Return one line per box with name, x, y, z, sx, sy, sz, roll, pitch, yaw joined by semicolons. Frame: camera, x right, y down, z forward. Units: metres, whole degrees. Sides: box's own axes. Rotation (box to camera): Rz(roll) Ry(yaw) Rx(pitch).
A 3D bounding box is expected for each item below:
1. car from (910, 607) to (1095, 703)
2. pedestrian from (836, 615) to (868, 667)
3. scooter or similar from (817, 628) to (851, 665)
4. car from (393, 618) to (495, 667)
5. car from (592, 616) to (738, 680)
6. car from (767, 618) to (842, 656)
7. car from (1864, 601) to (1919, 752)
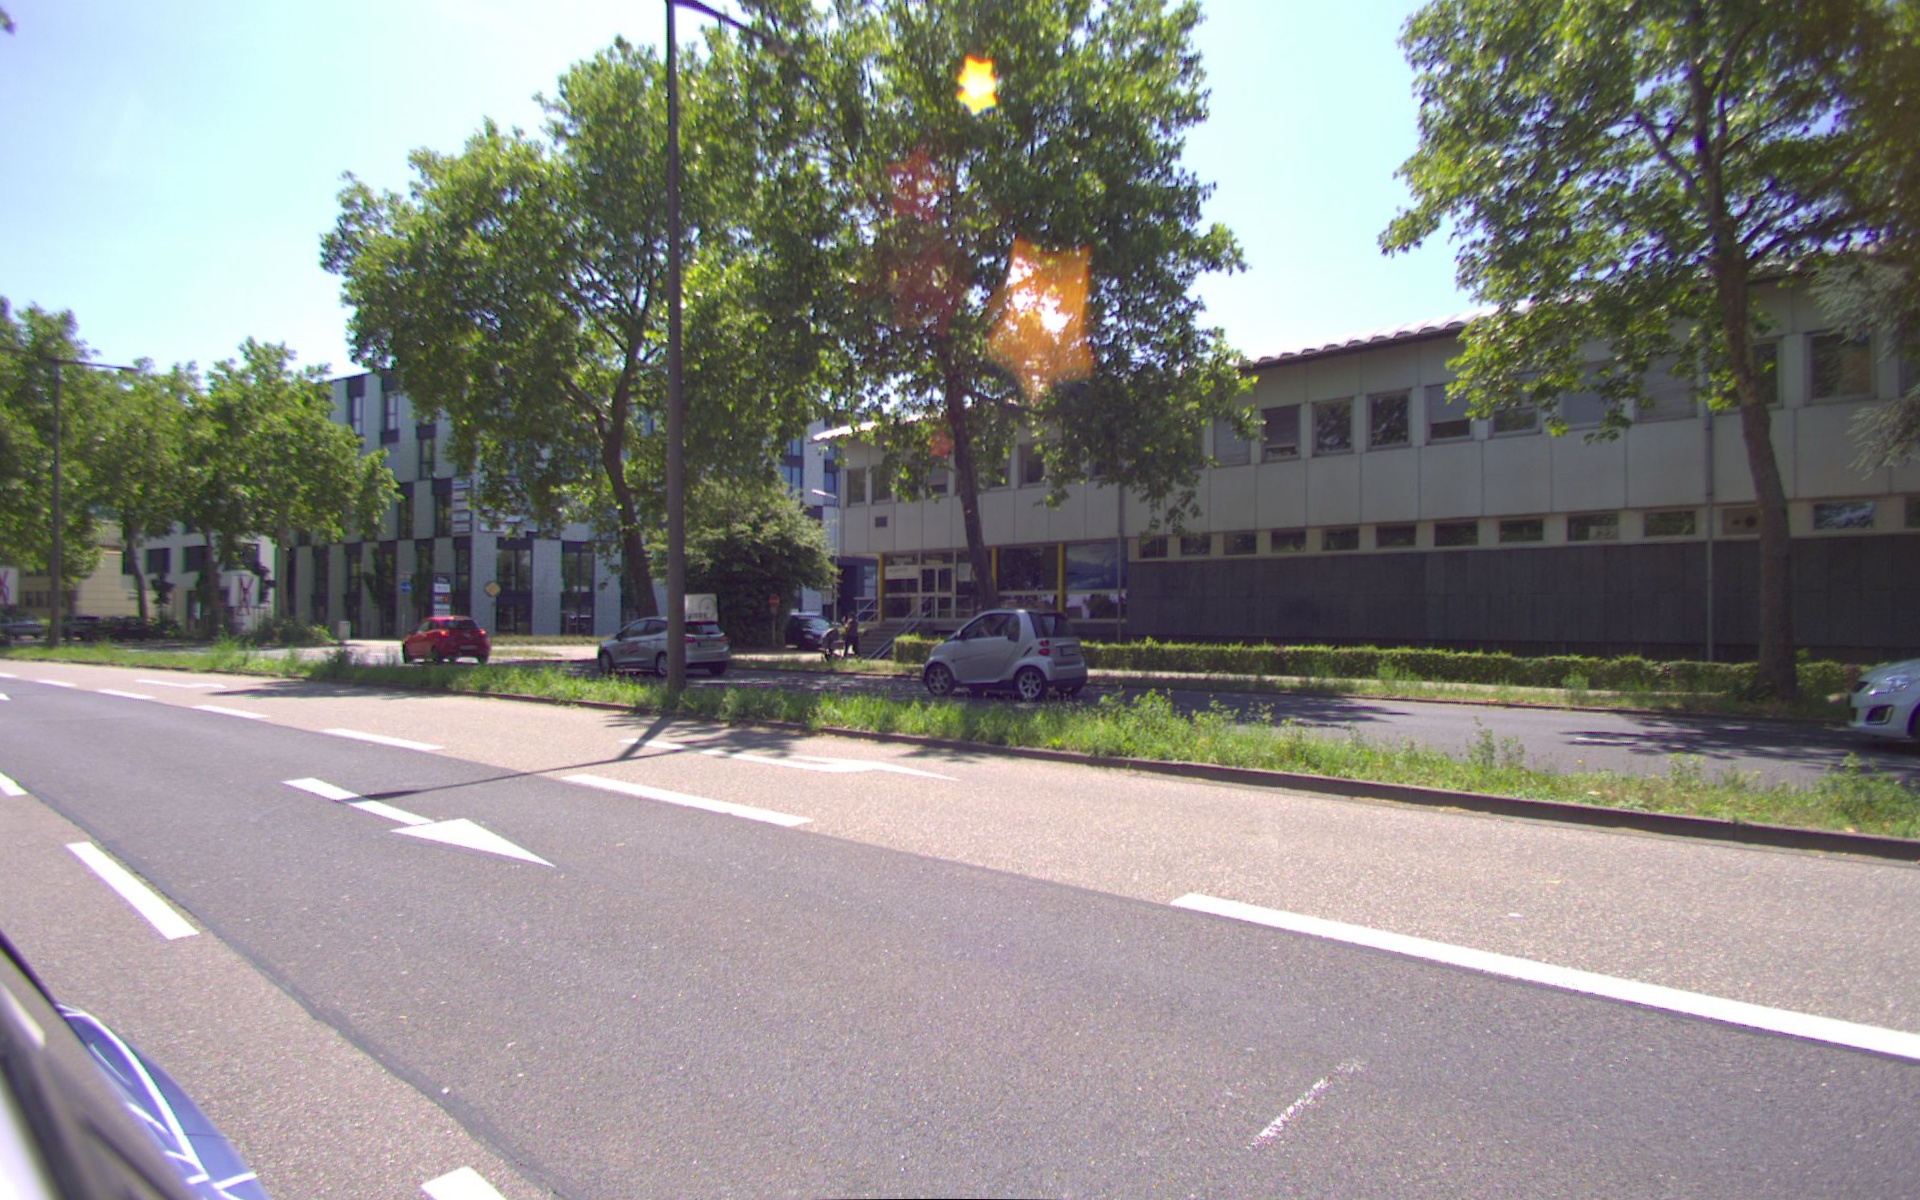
car;0.719;0.913;17.573;2.847;1.540;1.519;-1;-2;35
pedestrian;-3.343;1.256;31.361;0.790;1.572;0.635;-1;-2;39
scooter or similar;-3.980;1.454;31.891;0.858;1.172;0.671;-1;-2;39
car;-16.510;1.330;32.312;3.528;1.472;1.655;-1;-2;40
car;-7.291;1.146;24.886;3.669;1.454;1.733;-1;-2;40
car;-7.444;1.727;48.343;3.528;1.660;1.795;-1;0;44
car;11.002;0.731;9.513;3.672;1.470;1.713;-1;-2;41
